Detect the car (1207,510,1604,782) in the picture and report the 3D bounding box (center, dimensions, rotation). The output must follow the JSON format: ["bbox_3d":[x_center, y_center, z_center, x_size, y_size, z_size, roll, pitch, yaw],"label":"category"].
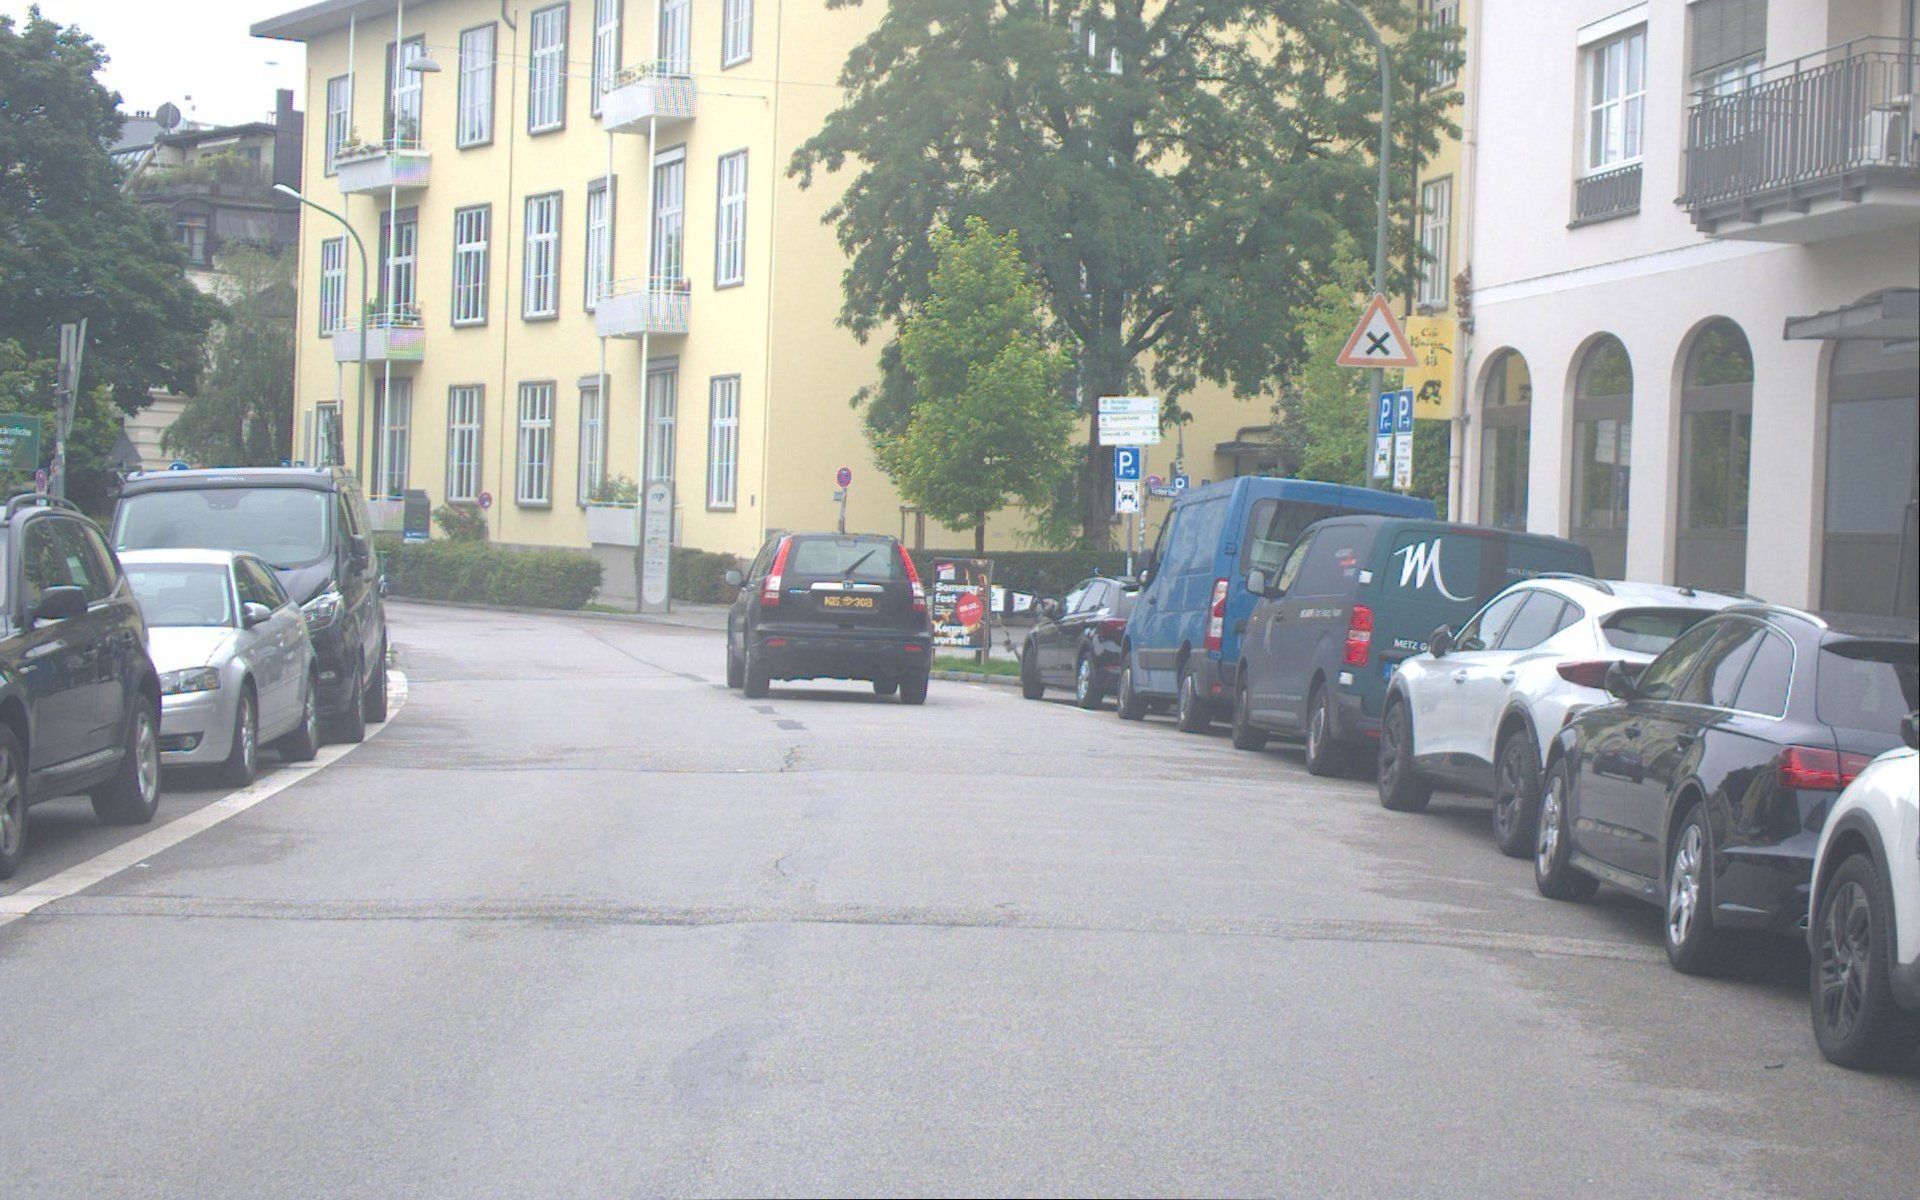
[{"bbox_3d":[3.192,0.302,25.676,1.964,1.810,4.936,-1,0,-4],"label":"car"}]

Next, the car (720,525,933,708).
[{"bbox_3d":[-1.297,0.106,35.113,1.995,1.688,4.381,0,2,0],"label":"car"}]

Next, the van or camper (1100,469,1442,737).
[{"bbox_3d":[2.720,-0.037,31.490,2.060,2.223,5.439,-1,1,-6],"label":"van or camper"}]

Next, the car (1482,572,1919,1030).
[{"bbox_3d":[3.512,0.727,14.346,1.739,1.494,4.496,4,1,-2],"label":"car"}]

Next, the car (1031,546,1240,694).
[{"bbox_3d":[1.866,0.175,37.682,1.703,1.513,3.959,0,1,-6],"label":"car"}]

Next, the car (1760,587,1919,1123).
[{"bbox_3d":[3.661,0.818,9.347,1.739,1.494,4.220,5,1,-2],"label":"car"}]

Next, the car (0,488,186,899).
[{"bbox_3d":[-4.891,0.360,16.124,1.619,1.724,4.425,-1,1,-2],"label":"car"}]

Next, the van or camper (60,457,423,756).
[{"bbox_3d":[-5.374,-0.009,26.338,1.960,2.058,4.754,-1,1,-3],"label":"van or camper"}]

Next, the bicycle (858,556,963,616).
[{"bbox_3d":[-1.002,-0.280,69.057,2.215,1.113,0.609,3,1,41],"label":"bicycle"}]

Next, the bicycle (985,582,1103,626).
[{"bbox_3d":[1.660,0.082,67.845,2.211,0.776,0.610,2,1,13],"label":"bicycle"}]

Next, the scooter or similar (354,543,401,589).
[{"bbox_3d":[-14.309,-0.844,84.504,0.495,1.105,1.408,2,2,20],"label":"scooter or similar"}]

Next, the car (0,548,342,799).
[{"bbox_3d":[-4.984,0.385,21.416,1.619,1.373,4.072,-1,1,-2],"label":"car"}]

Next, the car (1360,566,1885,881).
[{"bbox_3d":[3.654,0.616,19.773,1.738,1.532,4.274,1,1,-6],"label":"car"}]
